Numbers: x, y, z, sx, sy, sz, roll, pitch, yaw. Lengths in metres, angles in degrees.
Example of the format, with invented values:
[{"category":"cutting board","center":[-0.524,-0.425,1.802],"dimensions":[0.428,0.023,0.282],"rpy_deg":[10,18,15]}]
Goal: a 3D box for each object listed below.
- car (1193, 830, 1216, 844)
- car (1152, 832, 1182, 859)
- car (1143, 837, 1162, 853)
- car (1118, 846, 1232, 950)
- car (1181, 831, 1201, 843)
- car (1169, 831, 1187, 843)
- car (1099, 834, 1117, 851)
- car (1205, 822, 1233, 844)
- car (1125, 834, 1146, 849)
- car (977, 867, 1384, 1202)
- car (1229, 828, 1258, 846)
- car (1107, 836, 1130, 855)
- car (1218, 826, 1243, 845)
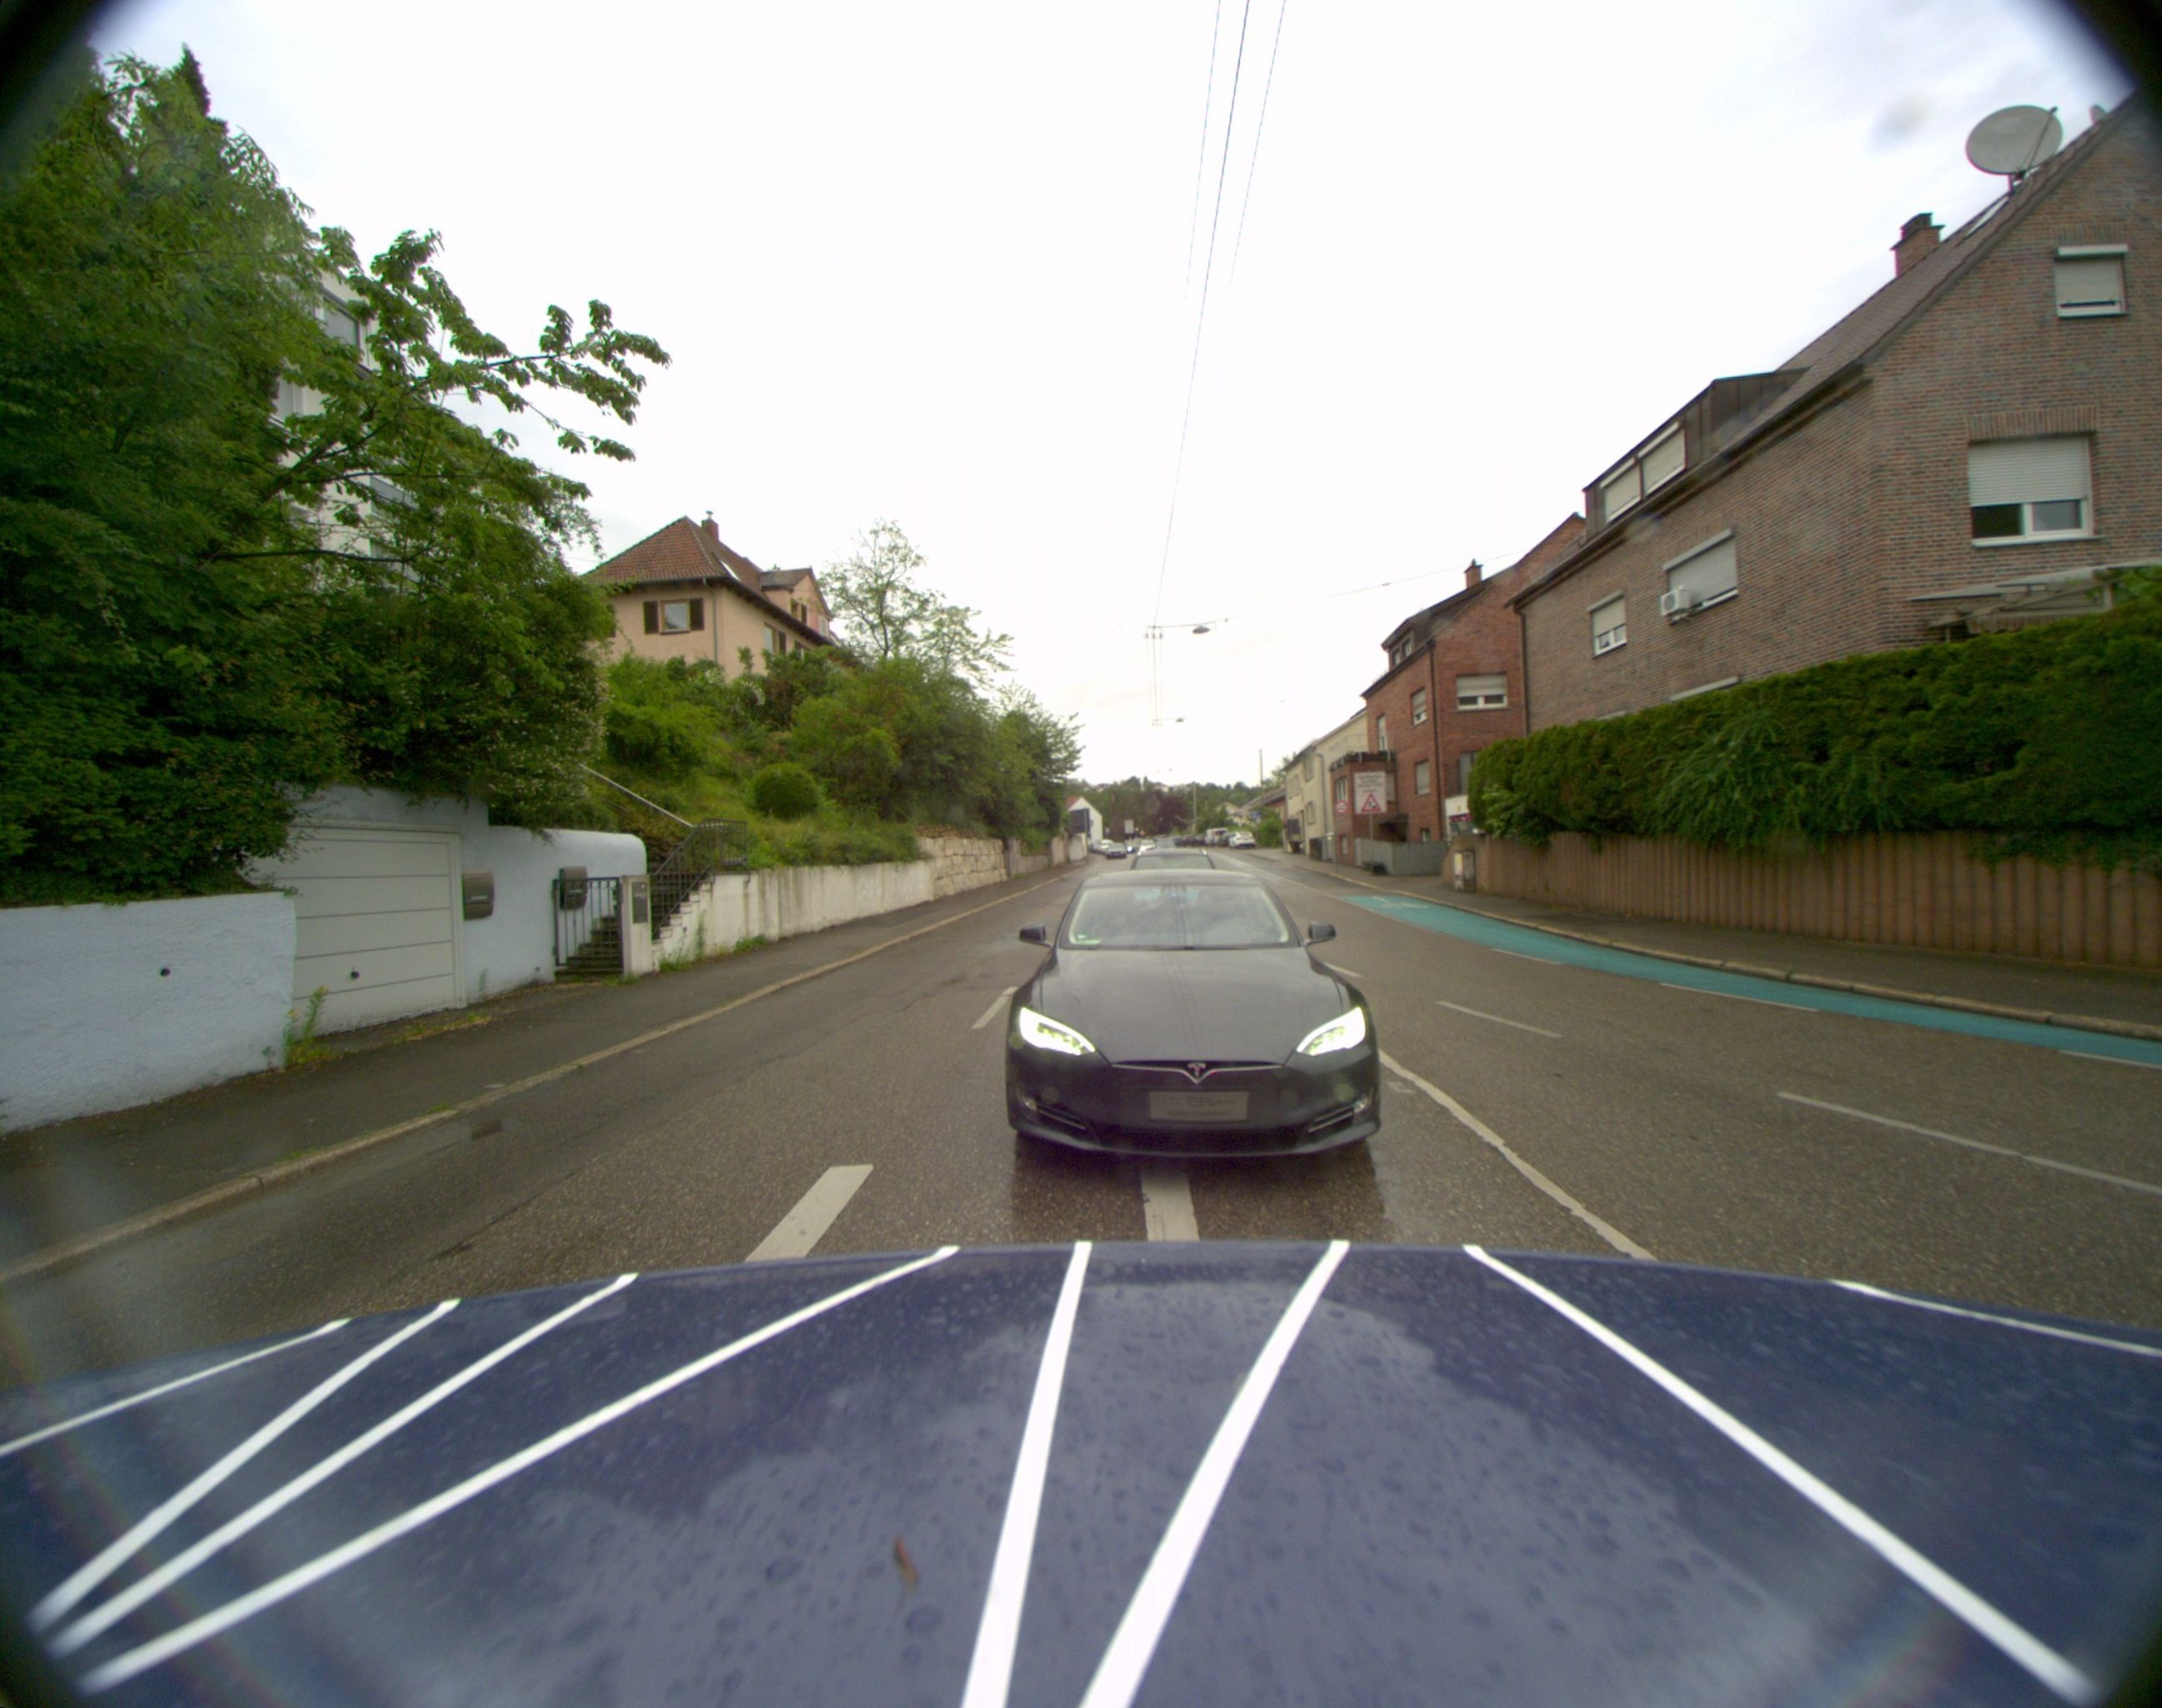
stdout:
[{"category":"car","center":[14.854,-2.002,91.502],"dimensions":[1.654,1.482,4.009],"rpy_deg":[-4,1,-6]},{"category":"car","center":[5.952,-0.556,52.940],"dimensions":[1.816,1.720,4.002],"rpy_deg":[-2,-1,4]},{"category":"car","center":[7.195,-0.860,76.491],"dimensions":[1.737,1.493,3.883],"rpy_deg":[-2,-1,4]},{"category":"car","center":[1.654,0.701,14.130],"dimensions":[1.789,1.580,3.784],"rpy_deg":[-2,1,4]},{"category":"car","center":[14.044,-2.125,97.398],"dimensions":[1.654,1.388,3.859],"rpy_deg":[-4,1,-4]},{"category":"car","center":[13.126,-2.237,102.637],"dimensions":[1.624,1.482,3.901],"rpy_deg":[-4,1,-4]},{"category":"car","center":[3.174,-1.372,89.111],"dimensions":[1.820,1.855,4.038],"rpy_deg":[-2,2,-1]},{"category":"car","center":[15.605,-2.354,86.149],"dimensions":[2.257,2.273,4.546],"rpy_deg":[-4,1,0]},{"category":"car","center":[6.374,-1.446,89.445],"dimensions":[1.999,1.615,3.998],"rpy_deg":[-2,1,-3]},{"category":"car","center":[0.609,0.903,5.582],"dimensions":[1.870,1.407,4.000],"rpy_deg":[-2,1,4]},{"category":"car","center":[15.348,-1.572,71.972],"dimensions":[1.946,1.557,4.263],"rpy_deg":[-4,1,2]},{"category":"car","center":[3.640,-0.808,73.272],"dimensions":[2.002,1.596,4.360],"rpy_deg":[-2,-1,4]},{"category":"car","center":[15.716,-1.924,80.120],"dimensions":[1.814,1.793,4.263],"rpy_deg":[-4,1,2]}]
